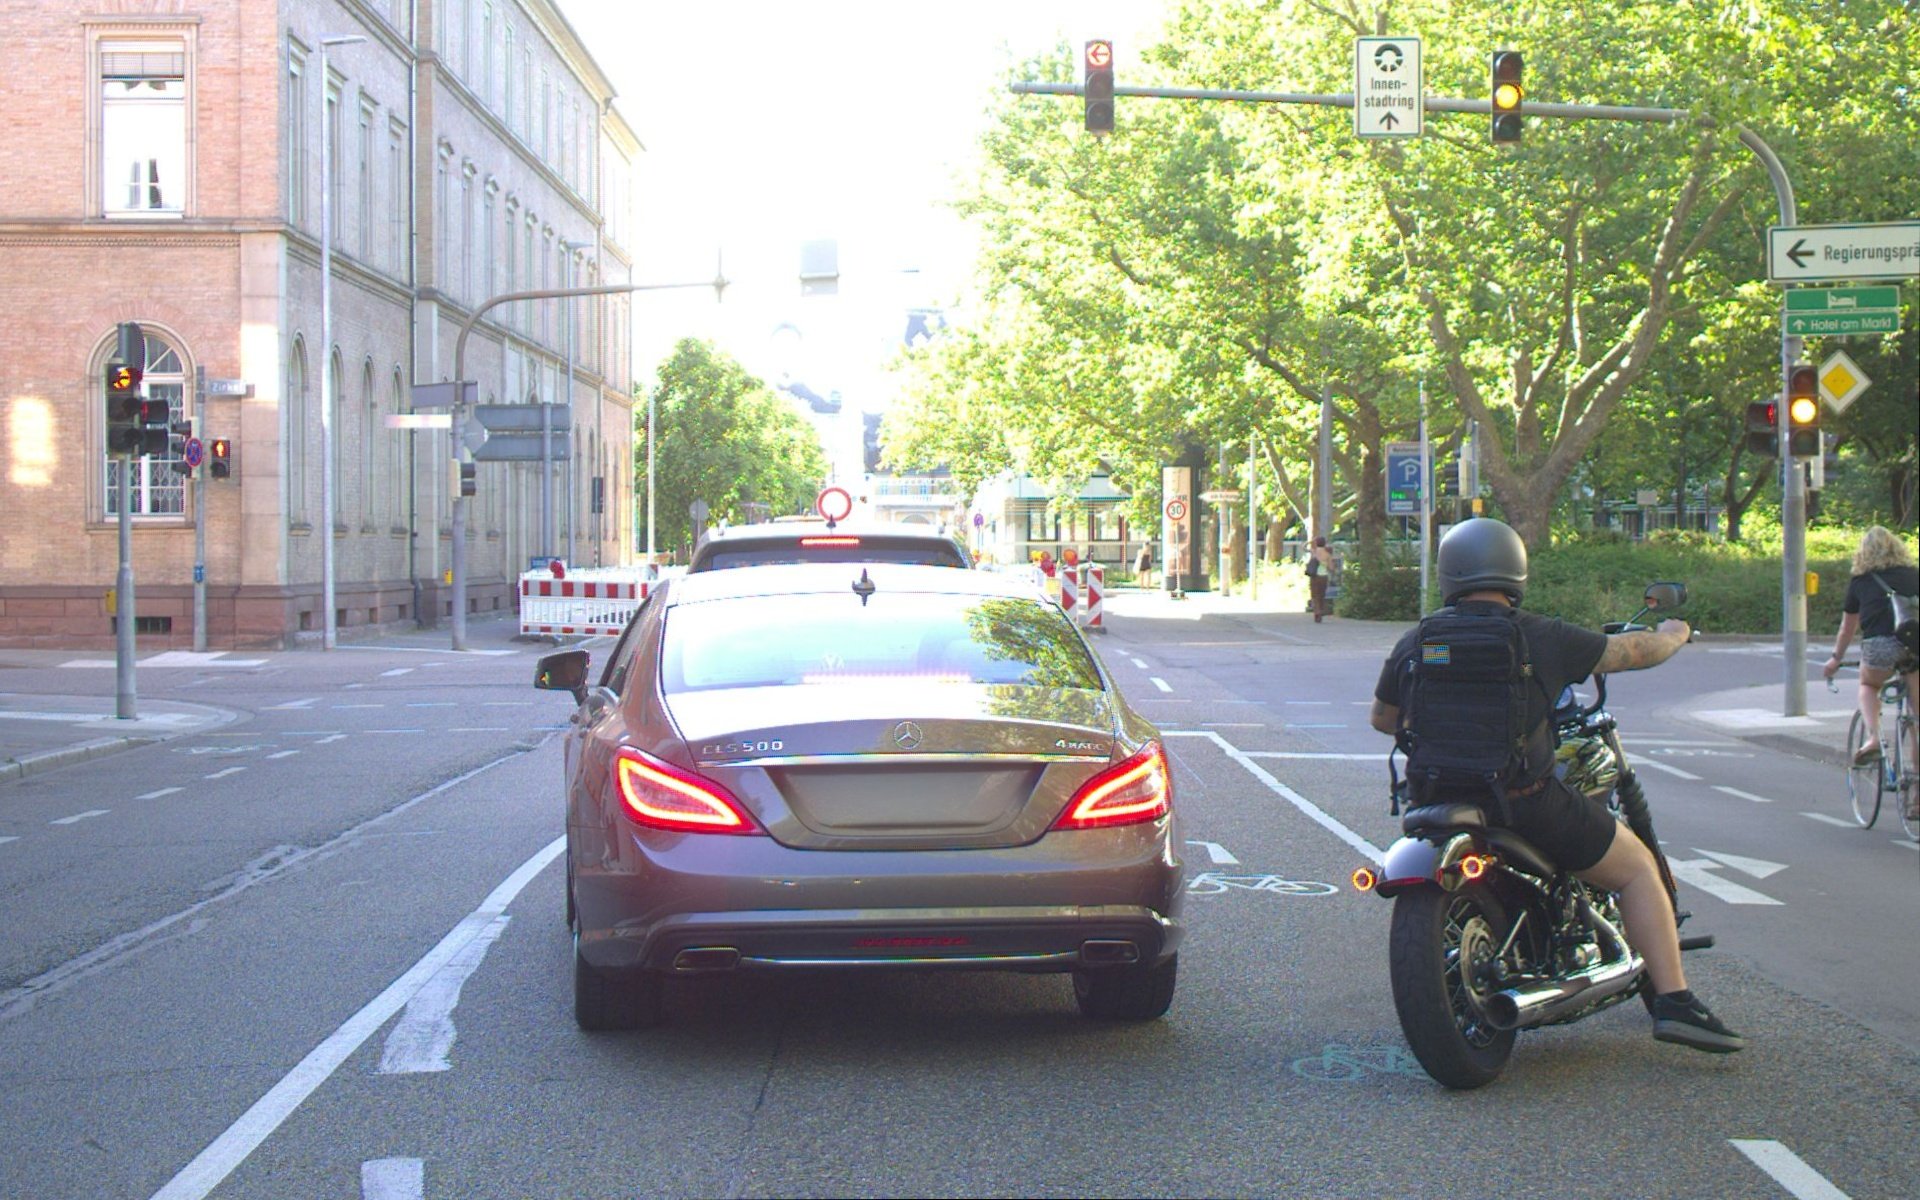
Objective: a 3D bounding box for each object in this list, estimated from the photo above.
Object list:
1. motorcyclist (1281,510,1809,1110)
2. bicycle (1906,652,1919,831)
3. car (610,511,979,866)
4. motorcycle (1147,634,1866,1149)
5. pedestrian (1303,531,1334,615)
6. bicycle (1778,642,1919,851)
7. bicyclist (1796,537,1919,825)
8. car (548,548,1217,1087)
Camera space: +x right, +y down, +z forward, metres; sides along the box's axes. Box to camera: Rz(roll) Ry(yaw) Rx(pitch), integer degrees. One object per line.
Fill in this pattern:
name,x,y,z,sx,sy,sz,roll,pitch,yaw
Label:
motorcyclist,1.718,0.548,10.020,1.115,1.607,1.200,1,1,34
bicycle,5.628,0.808,18.316,0.600,0.981,1.881,2,1,-1
car,-0.814,0.374,17.613,1.681,1.619,3.841,0,1,-2
motorcycle,1.659,0.736,9.904,1.009,1.200,2.660,1,1,34
pedestrian,7.234,-0.548,69.355,0.559,1.672,0.565,0,1,-1
bicycle,4.967,0.771,18.636,0.610,1.023,1.731,2,1,-1
bicyclist,4.973,0.422,18.627,0.610,1.511,0.890,2,1,-1
car,-0.463,0.561,11.653,1.821,1.471,4.354,0,1,-7
